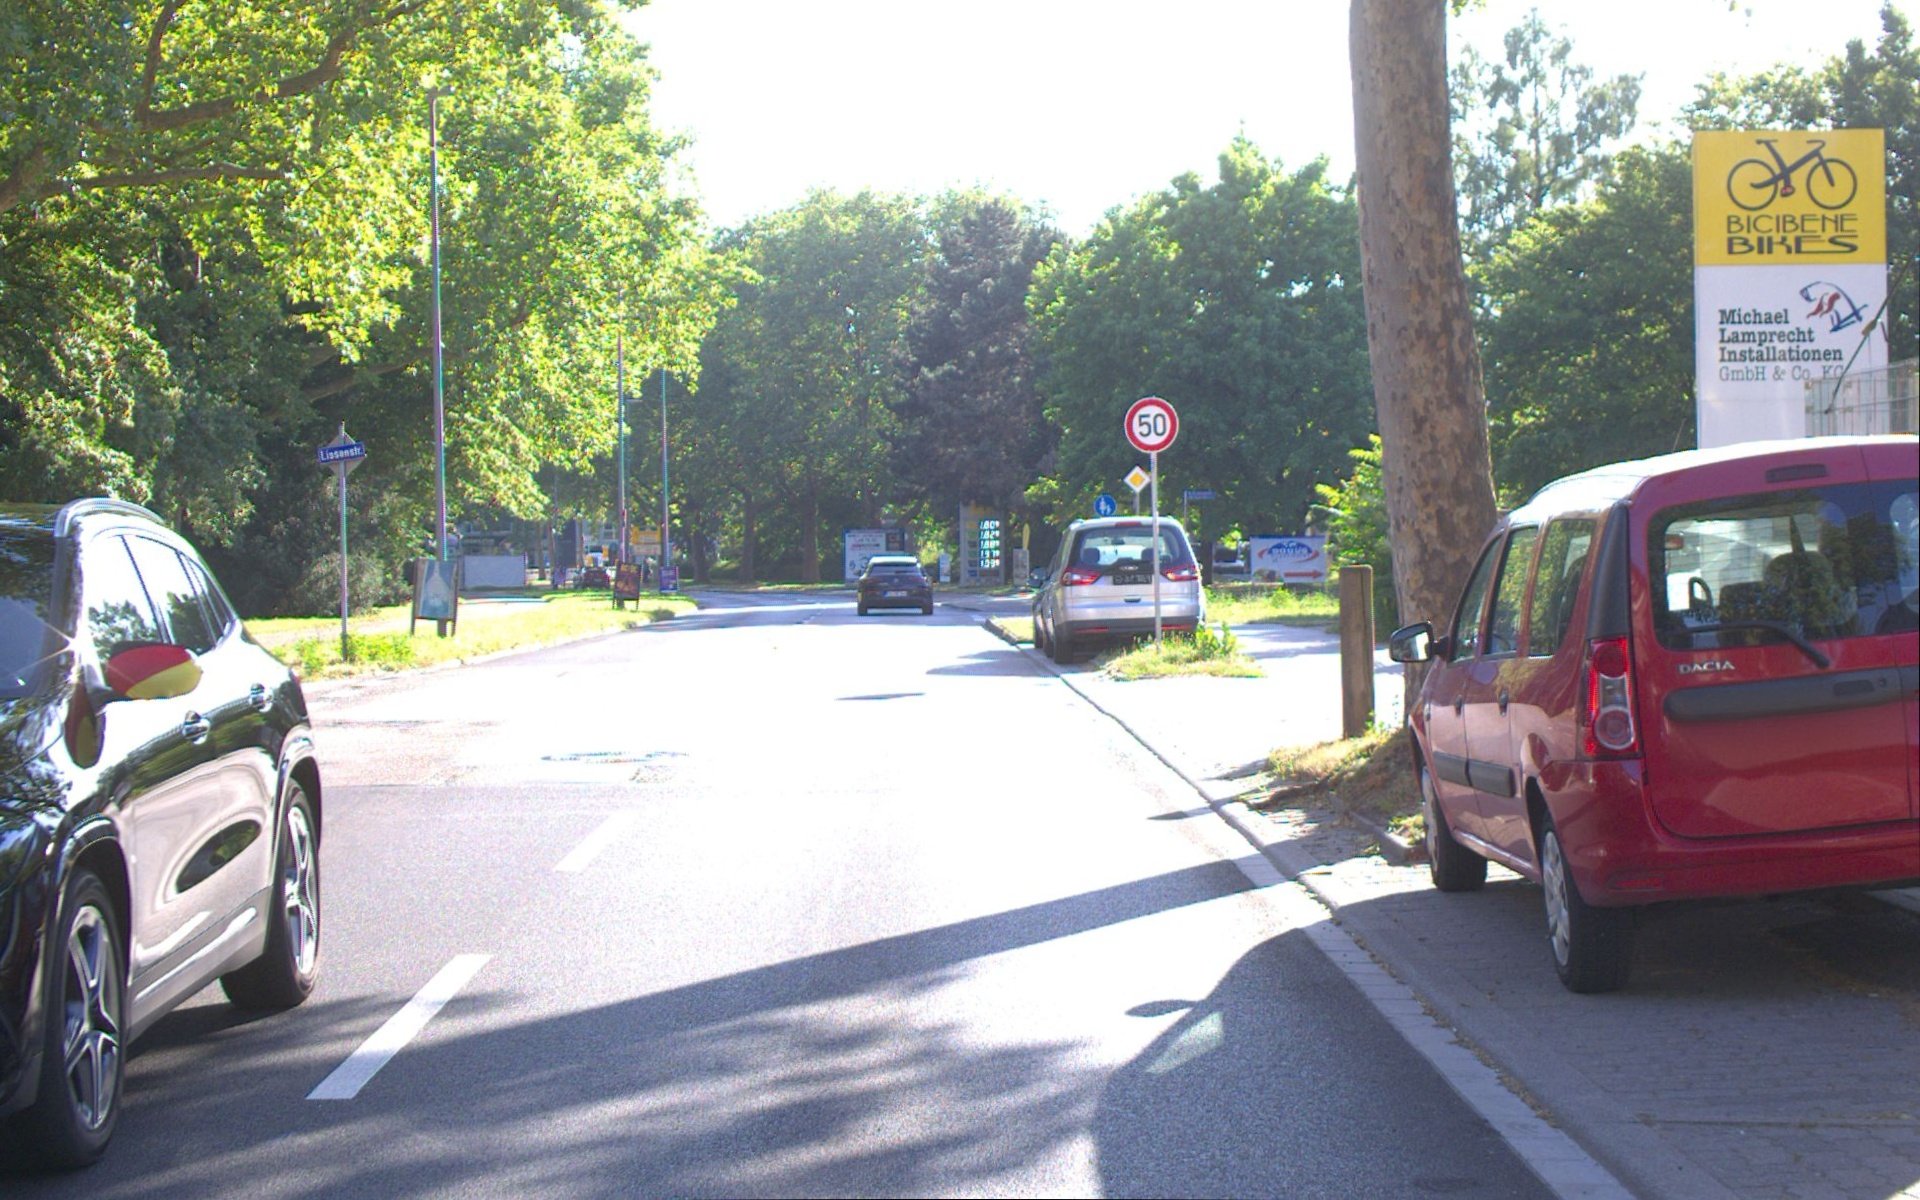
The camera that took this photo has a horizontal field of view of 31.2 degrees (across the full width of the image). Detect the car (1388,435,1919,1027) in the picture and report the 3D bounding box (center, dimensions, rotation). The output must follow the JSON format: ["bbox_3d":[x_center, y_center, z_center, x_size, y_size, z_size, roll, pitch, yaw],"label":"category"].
[{"bbox_3d":[2.574,0.329,12.062,1.598,1.684,4.336,-1,1,0],"label":"car"}]

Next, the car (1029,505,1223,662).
[{"bbox_3d":[1.998,-0.247,42.694,1.993,1.753,4.918,-2,1,-1],"label":"car"}]

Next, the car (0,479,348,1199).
[{"bbox_3d":[-2.902,0.527,9.108,1.896,1.585,4.070,-1,1,-1],"label":"car"}]

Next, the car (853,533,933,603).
[{"bbox_3d":[-1.596,-0.786,82.904,1.839,1.600,3.863,-1,1,-1],"label":"car"}]
